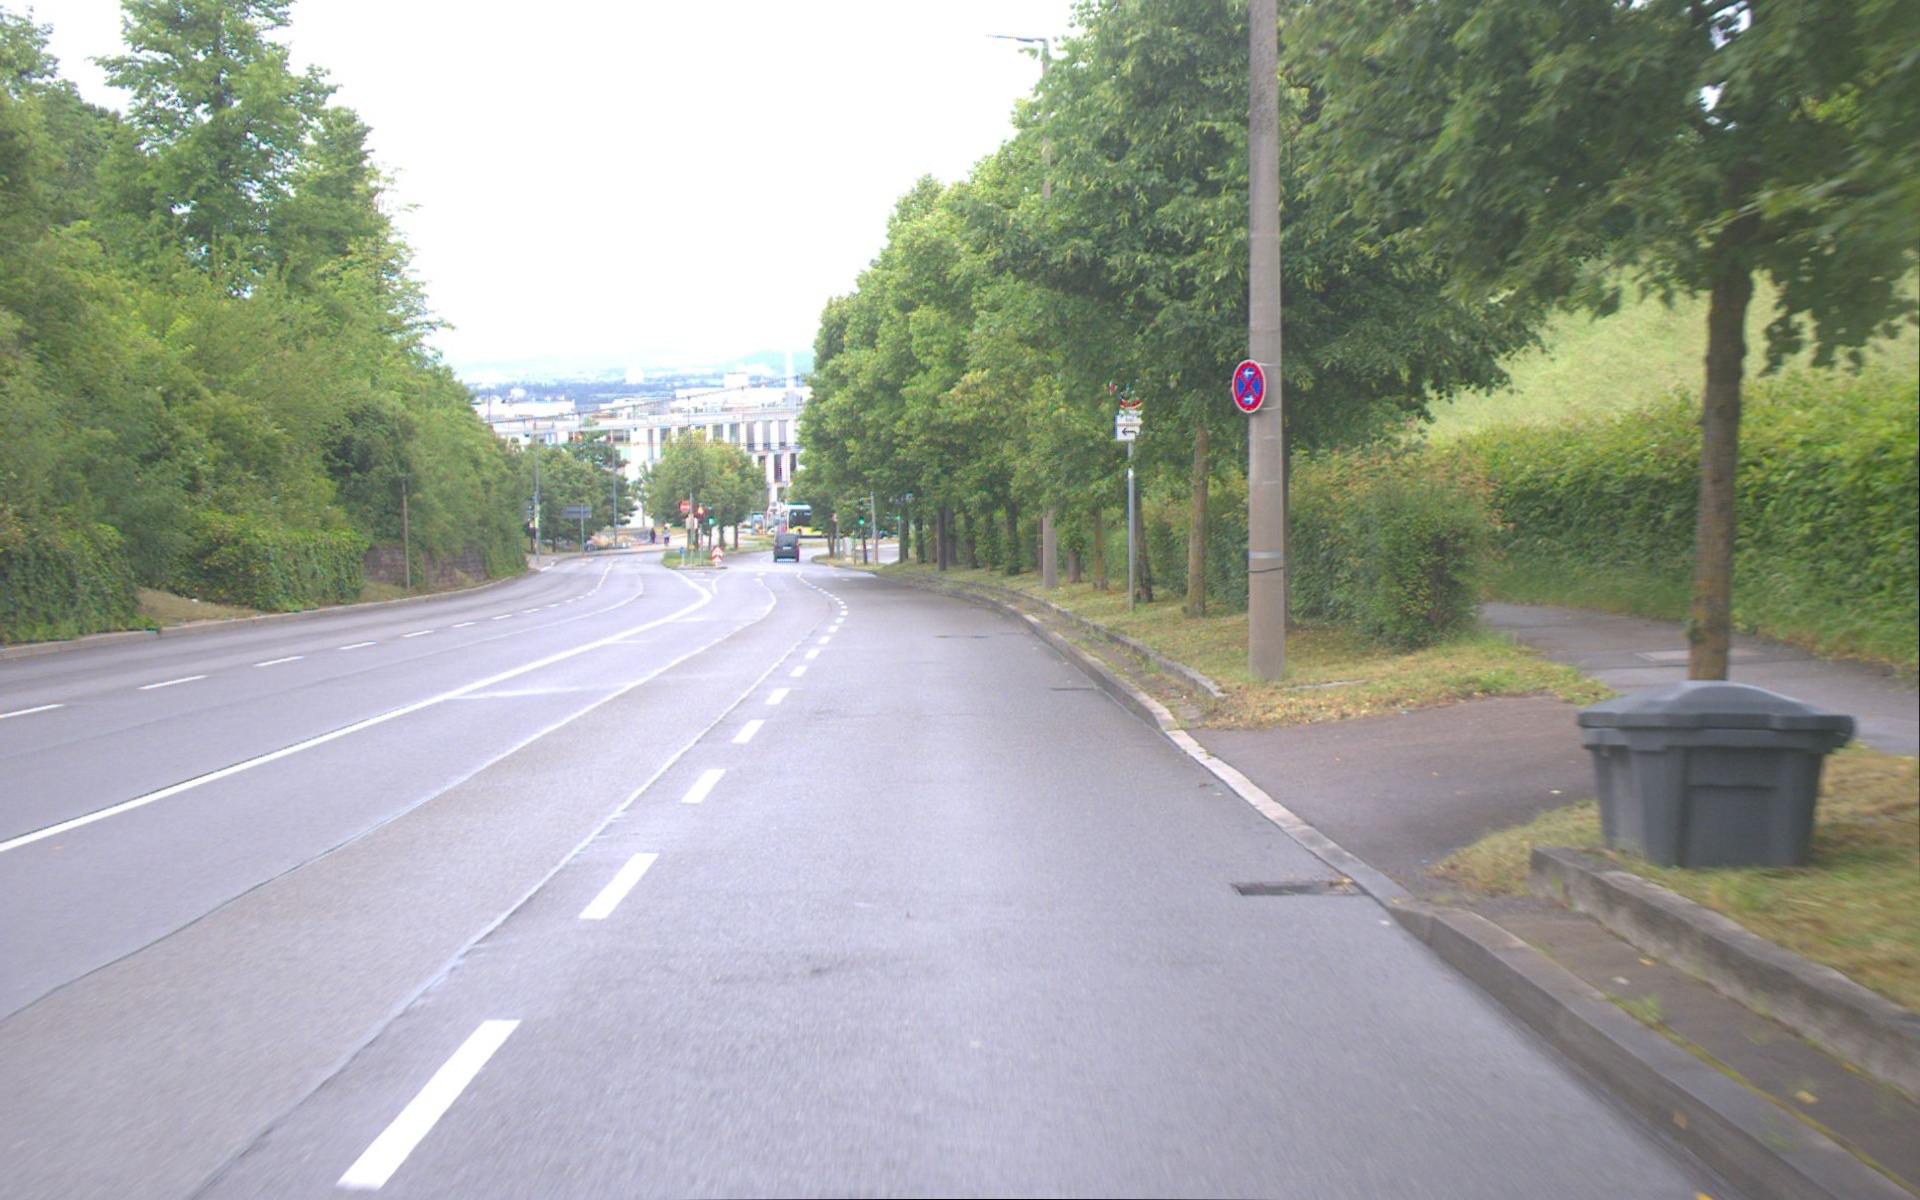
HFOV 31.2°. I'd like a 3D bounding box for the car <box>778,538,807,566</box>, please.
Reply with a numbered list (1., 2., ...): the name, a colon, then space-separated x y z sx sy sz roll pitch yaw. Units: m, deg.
1. car: -10.850 -3.100 222.799 1.849 1.696 3.793 1 -1 -3
